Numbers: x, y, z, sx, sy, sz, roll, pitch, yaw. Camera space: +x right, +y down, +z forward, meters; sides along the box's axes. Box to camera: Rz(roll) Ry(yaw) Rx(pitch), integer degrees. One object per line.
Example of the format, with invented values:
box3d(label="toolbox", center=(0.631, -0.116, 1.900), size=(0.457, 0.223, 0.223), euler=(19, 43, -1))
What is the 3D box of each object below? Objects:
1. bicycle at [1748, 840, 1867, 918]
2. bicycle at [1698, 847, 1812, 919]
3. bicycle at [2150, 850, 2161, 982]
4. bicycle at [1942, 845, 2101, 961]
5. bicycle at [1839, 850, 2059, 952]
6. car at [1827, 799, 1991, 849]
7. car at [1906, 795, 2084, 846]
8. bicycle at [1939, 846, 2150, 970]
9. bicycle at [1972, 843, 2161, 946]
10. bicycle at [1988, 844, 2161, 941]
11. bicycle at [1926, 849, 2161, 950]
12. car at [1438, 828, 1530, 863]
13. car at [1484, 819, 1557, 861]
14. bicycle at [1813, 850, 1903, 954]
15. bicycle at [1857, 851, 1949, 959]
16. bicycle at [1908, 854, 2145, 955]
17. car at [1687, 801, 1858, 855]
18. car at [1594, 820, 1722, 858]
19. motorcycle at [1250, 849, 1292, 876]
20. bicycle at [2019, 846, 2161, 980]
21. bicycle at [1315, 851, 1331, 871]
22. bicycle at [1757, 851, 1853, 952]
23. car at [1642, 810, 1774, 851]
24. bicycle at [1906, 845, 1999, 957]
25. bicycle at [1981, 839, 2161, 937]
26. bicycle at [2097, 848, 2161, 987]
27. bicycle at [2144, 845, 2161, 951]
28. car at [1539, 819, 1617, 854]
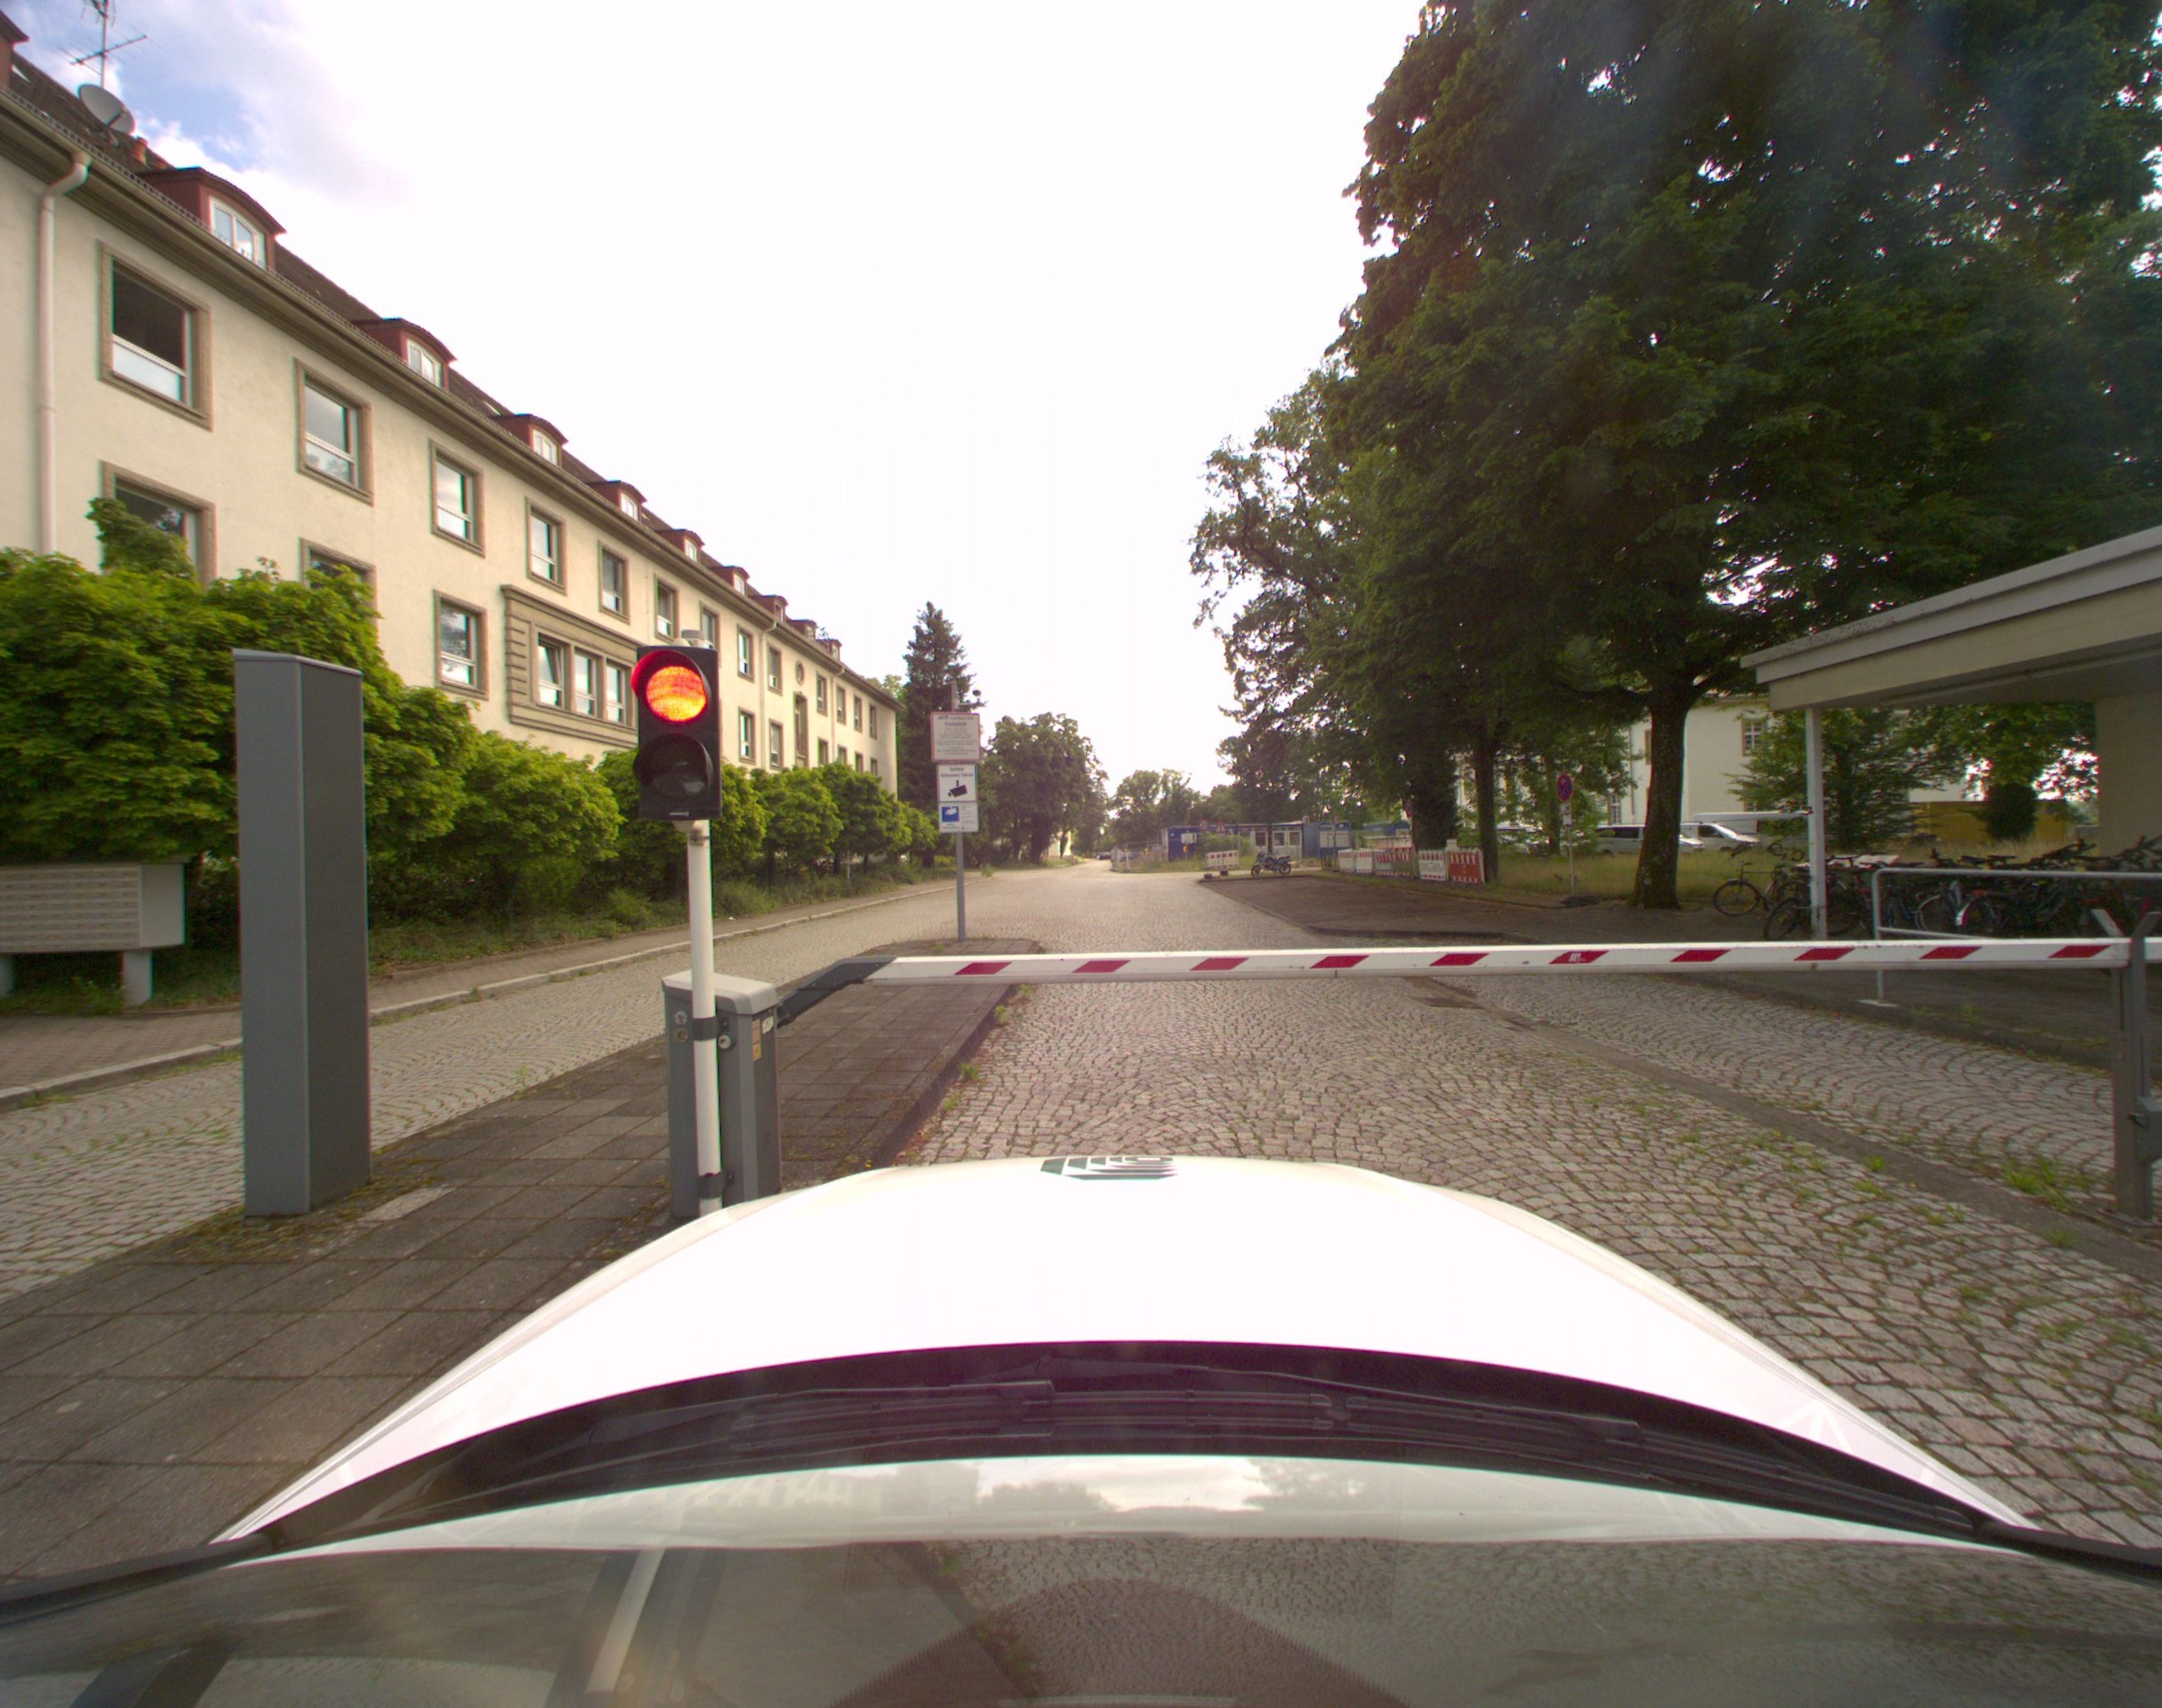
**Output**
box3d(label="bicycle", center=(11.682, 0.409, 13.159), size=(0.502, 1.171, 1.555), euler=(-2, -2, 2))
box3d(label="bicycle", center=(11.075, 0.441, 13.441), size=(0.503, 1.086, 1.584), euler=(-2, 1, -2))
box3d(label="bicycle", center=(9.606, 0.518, 6.439), size=(1.800, 1.171, 0.581), euler=(-2, -2, -10))
box3d(label="bicycle", center=(10.160, 0.520, 8.806), size=(1.377, 1.171, 0.358), euler=(-2, -2, -7))
box3d(label="bicycle", center=(10.458, 0.515, 9.905), size=(0.446, 1.119, 1.785), euler=(-1, 0, -23))
box3d(label="car", center=(40.420, -1.386, 40.039), size=(2.431, 1.957, 5.698), euler=(-2, -2, 4))
box3d(label="car", center=(44.262, -1.542, 39.715), size=(2.431, 1.957, 5.698), euler=(-2, -2, 4))
box3d(label="bicycle", center=(9.910, 0.545, 8.391), size=(1.797, 1.171, 0.358), euler=(-2, -2, -4))
box3d(label="bicycle", center=(11.804, 0.444, 9.576), size=(0.371, 1.119, 1.893), euler=(-2, 0, -8))
box3d(label="bicycle", center=(12.178, 0.446, 9.712), size=(0.371, 1.083, 1.892), euler=(-2, -2, -8))
box3d(label="bicycle", center=(11.404, 0.520, 9.752), size=(0.371, 1.081, 1.893), euler=(-2, -2, -8))
box3d(label="car", center=(22.879, -0.463, 46.334), size=(4.201, 1.820, 2.002), euler=(-2, -1, 4))
box3d(label="car", center=(26.944, -0.798, 50.158), size=(1.984, 2.424, 5.365), euler=(-2, -1, 6))
box3d(label="bicycle", center=(9.364, 0.553, 9.799), size=(1.387, 1.171, 0.355), euler=(-1, -3, -30))
box3d(label="bicycle", center=(9.534, 0.565, 9.432), size=(1.387, 1.171, 0.355), euler=(-1, -3, -30))
box3d(label="bicycle", center=(11.056, 0.542, 9.635), size=(0.371, 1.067, 1.907), euler=(-2, 0, -8))
box3d(label="car", center=(34.268, -1.208, 40.626), size=(2.005, 2.308, 6.142), euler=(-1, -1, -29))
box3d(label="car", center=(28.429, -0.709, 40.309), size=(2.004, 1.650, 4.799), euler=(-1, -1, -26))
box3d(label="motorcycle", center=(9.425, 0.423, 40.470), size=(1.950, 1.194, 0.461), euler=(-3, 5, 0))
box3d(label="bicycle", center=(9.886, 0.525, 7.802), size=(1.749, 1.171, 0.494), euler=(-1, -2, -18))
box3d(label="bicycle", center=(12.437, 0.373, 41.950), size=(0.330, 1.007, 1.726), euler=(-2, -2, 2))
box3d(label="bicycle", center=(9.188, 0.581, 10.322), size=(1.387, 1.171, 0.429), euler=(-2, -2, -30))
box3d(label="car", center=(31.166, -1.107, 40.640), size=(2.004, 1.789, 4.799), euler=(-1, -1, -26))
box3d(label="bicycle", center=(9.744, 0.497, 9.099), size=(1.387, 1.171, 0.355), euler=(-1, -3, -30))
box3d(label="bicycle", center=(12.641, 0.413, 10.301), size=(0.370, 1.128, 1.898), euler=(-2, -2, 1))
box3d(label="bicycle", center=(10.001, 0.523, 7.280), size=(1.805, 1.171, 0.494), euler=(-1, -2, -18))
box3d(label="bicycle", center=(11.778, 0.457, 7.854), size=(0.371, 1.119, 1.893), euler=(-2, -1, -8))
box3d(label="car", center=(30.835, -1.052, 50.678), size=(1.986, 2.013, 4.842), euler=(-2, 0, 2))
